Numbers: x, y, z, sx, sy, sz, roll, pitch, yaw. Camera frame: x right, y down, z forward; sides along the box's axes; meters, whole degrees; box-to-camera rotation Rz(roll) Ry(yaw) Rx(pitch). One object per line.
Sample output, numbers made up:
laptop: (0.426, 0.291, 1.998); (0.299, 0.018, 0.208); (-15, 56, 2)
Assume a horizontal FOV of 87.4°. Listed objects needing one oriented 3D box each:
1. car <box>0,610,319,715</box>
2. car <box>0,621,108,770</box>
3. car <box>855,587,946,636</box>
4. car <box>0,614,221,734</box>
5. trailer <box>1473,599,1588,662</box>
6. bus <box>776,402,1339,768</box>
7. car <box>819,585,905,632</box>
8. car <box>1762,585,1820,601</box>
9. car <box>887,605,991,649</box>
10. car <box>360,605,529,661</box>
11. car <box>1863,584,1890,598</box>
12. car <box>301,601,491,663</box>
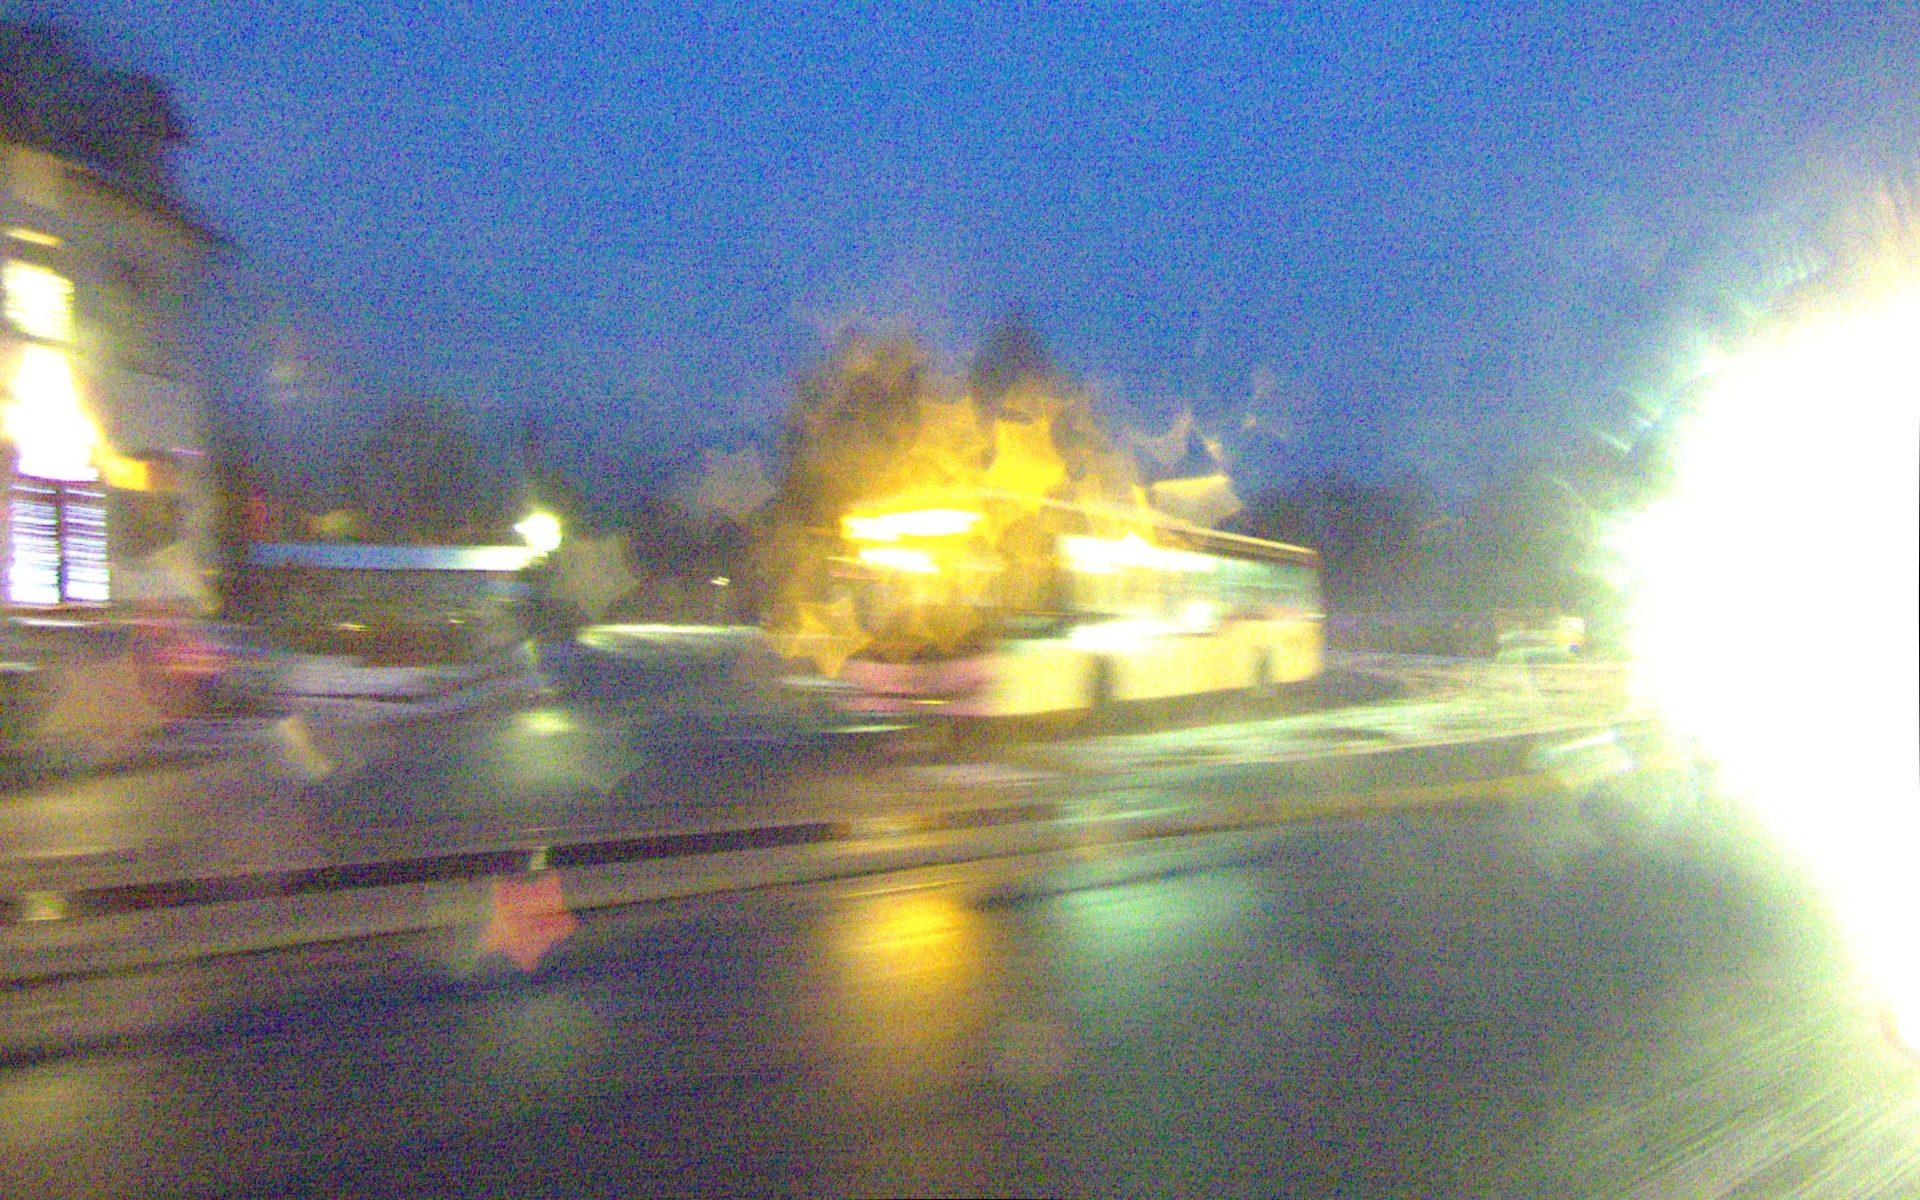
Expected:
car: (-12.723, 1.000, 16.090); (3.662, 1.416, 1.692); (3, -3, -7)
car: (-12.086, 0.887, 10.371); (4.652, 1.394, 1.846); (3, 1, -11)
car: (-2.715, 0.557, 46.677); (1.969, 2.083, 3.983); (4, 1, 38)
car: (-12.441, 0.930, 13.441); (3.662, 1.416, 1.692); (3, -3, -7)
trailer: (16.706, 0.853, 29.351); (4.072, 1.699, 1.795); (0, -1, -44)
bus: (2.826, -0.104, 16.793); (2.856, 3.920, 13.007); (2, 0, 37)
car: (-4.662, 0.418, 48.149); (1.737, 2.083, 3.983); (4, 1, 38)
car: (94.255, -0.826, 114.052); (4.843, 1.758, 1.995); (0, 1, 32)
car: (-0.860, 1.192, 44.163); (1.914, 1.719, 4.605); (4, 1, 41)
car: (-15.218, 0.992, 29.861); (3.965, 1.416, 1.859); (3, -3, -7)
car: (104.693, -1.022, 114.789); (1.613, 1.530, 4.084); (-1, 0, 33)
car: (-15.094, 0.881, 27.090); (3.965, 1.416, 1.859); (3, -3, -7)
